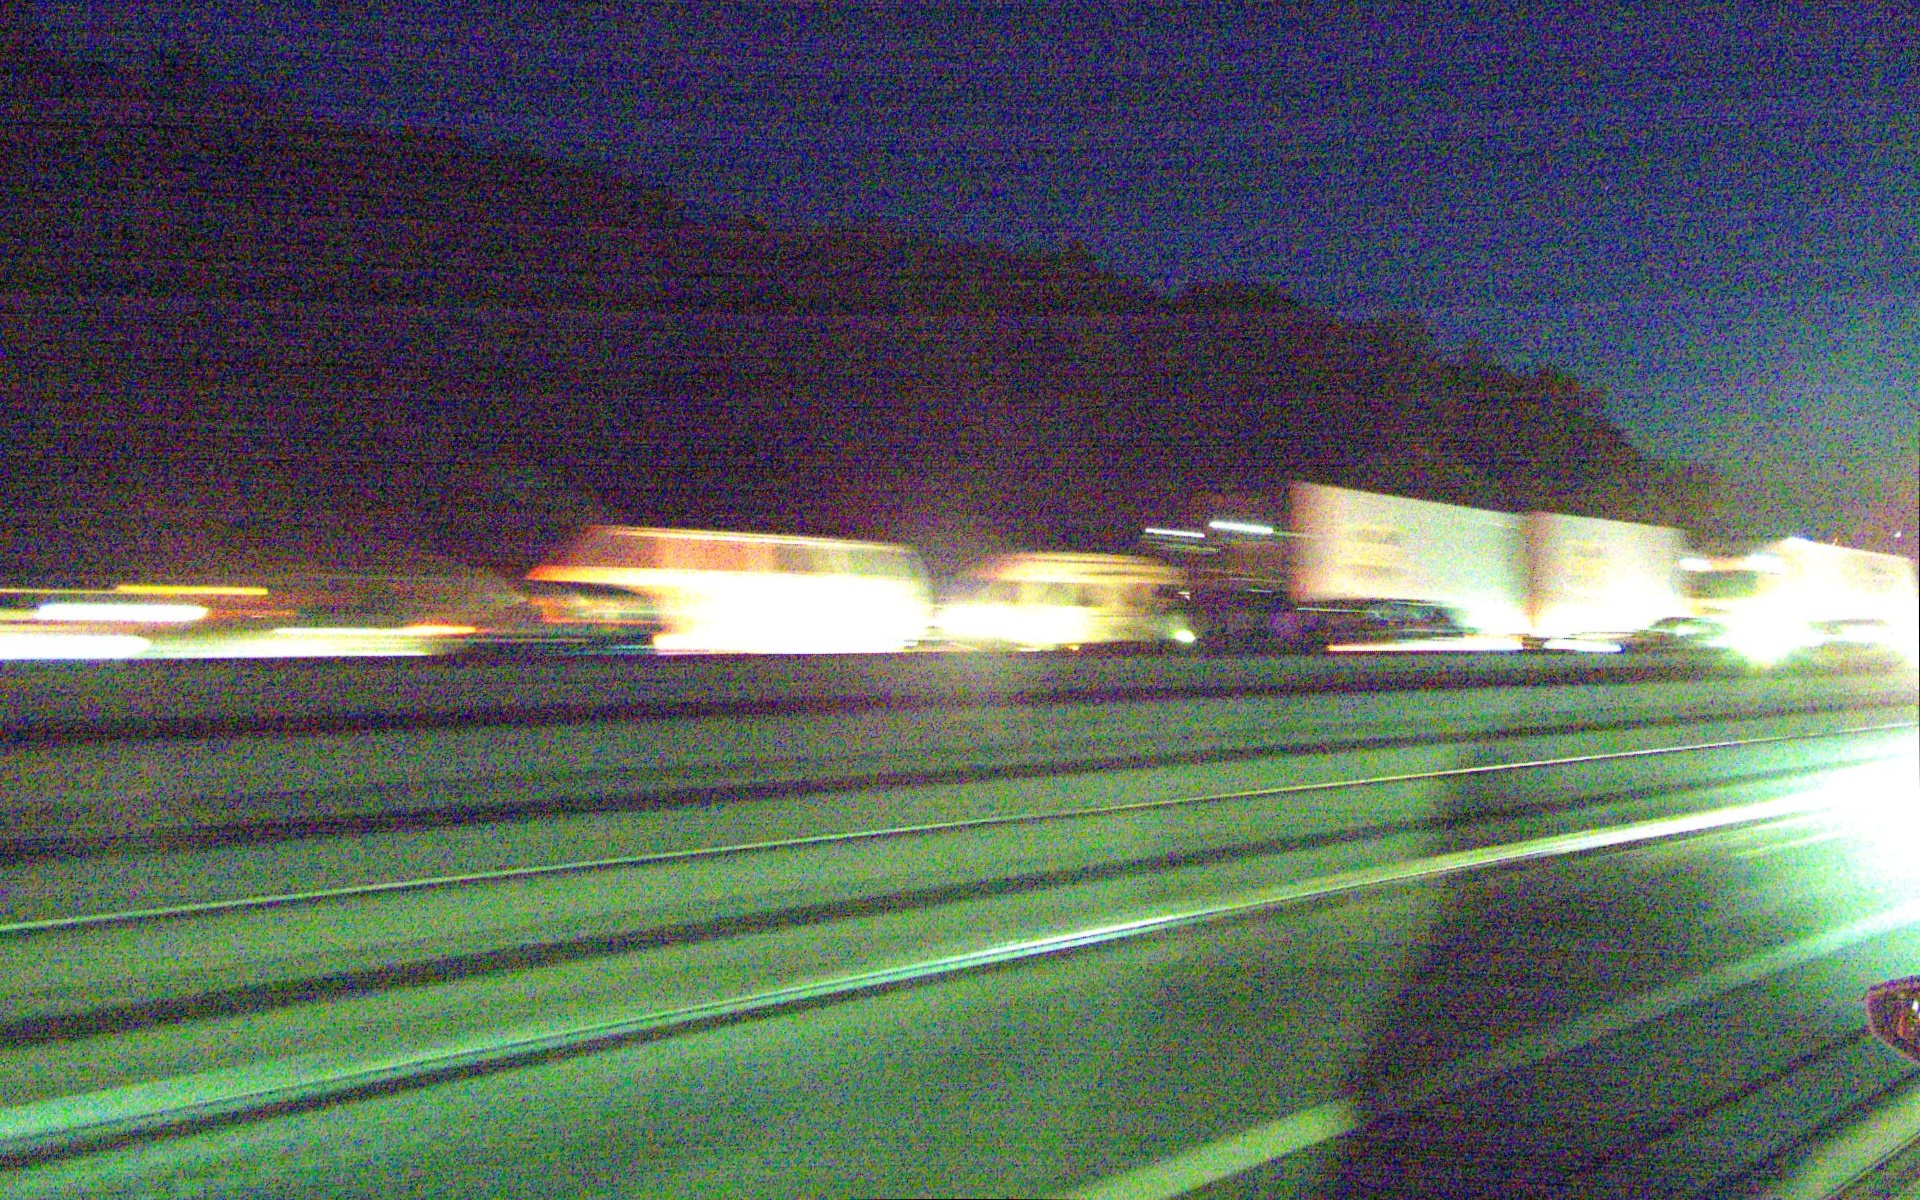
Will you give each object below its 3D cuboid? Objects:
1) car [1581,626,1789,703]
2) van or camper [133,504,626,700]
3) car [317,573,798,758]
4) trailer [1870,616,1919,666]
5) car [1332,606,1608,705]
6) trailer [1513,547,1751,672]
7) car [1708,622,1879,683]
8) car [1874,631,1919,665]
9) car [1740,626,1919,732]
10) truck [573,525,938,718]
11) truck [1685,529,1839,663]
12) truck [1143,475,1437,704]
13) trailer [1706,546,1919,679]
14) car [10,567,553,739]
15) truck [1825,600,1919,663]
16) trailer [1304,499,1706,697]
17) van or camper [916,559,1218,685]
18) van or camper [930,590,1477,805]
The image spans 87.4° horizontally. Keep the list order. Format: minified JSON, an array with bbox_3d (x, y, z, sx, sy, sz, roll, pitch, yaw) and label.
[{"bbox_3d":[16.139,1.413,22.309,4.809,1.512,1.895,2,-1,-29],"label":"car"},{"bbox_3d":[-9.046,0.112,16.372,6.541,2.691,1.983,2,-1,-31],"label":"van or camper"},{"bbox_3d":[-4.056,0.692,10.391,4.304,1.543,1.886,3,-4,-34],"label":"car"},{"bbox_3d":[55.514,2.368,58.869,4.945,2.781,2.347,2,-1,-36],"label":"trailer"},{"bbox_3d":[8.913,0.936,17.458,4.878,1.512,1.895,2,-1,-29],"label":"car"},{"bbox_3d":[26.175,0.557,38.698,13.146,4.226,2.823,2,-3,-34],"label":"trailer"},{"bbox_3d":[23.040,1.455,27.722,5.196,1.512,1.895,2,-1,-29],"label":"car"},{"bbox_3d":[44.502,2.220,46.708,4.817,1.512,1.892,2,-1,-34],"label":"car"},{"bbox_3d":[15.242,1.262,16.796,4.813,1.512,1.894,2,-1,-32],"label":"car"},{"bbox_3d":[-2.985,0.351,15.154,4.998,2.491,1.981,2,-1,-34],"label":"truck"},{"bbox_3d":[28.235,-0.040,35.310,5.897,4.326,2.599,2,-1,-34],"label":"truck"},{"bbox_3d":[7.180,-0.113,21.634,6.042,4.266,2.848,2,-1,-34],"label":"truck"},{"bbox_3d":[33.761,0.723,39.277,14.378,4.521,2.822,2,-5,-35],"label":"trailer"},{"bbox_3d":[-7.757,0.599,12.099,5.025,1.699,1.875,2,-1,-33],"label":"car"},{"bbox_3d":[50.372,1.736,55.160,7.834,3.261,2.478,2,-1,-35],"label":"truck"},{"bbox_3d":[15.025,0.119,26.688,14.366,4.239,2.859,1,-1,-33],"label":"trailer"},{"bbox_3d":[2.662,0.546,23.826,7.032,2.627,2.569,2,-1,-32],"label":"van or camper"},{"bbox_3d":[2.272,0.755,8.885,4.809,1.485,1.731,2,-1,-29],"label":"van or camper"}]
